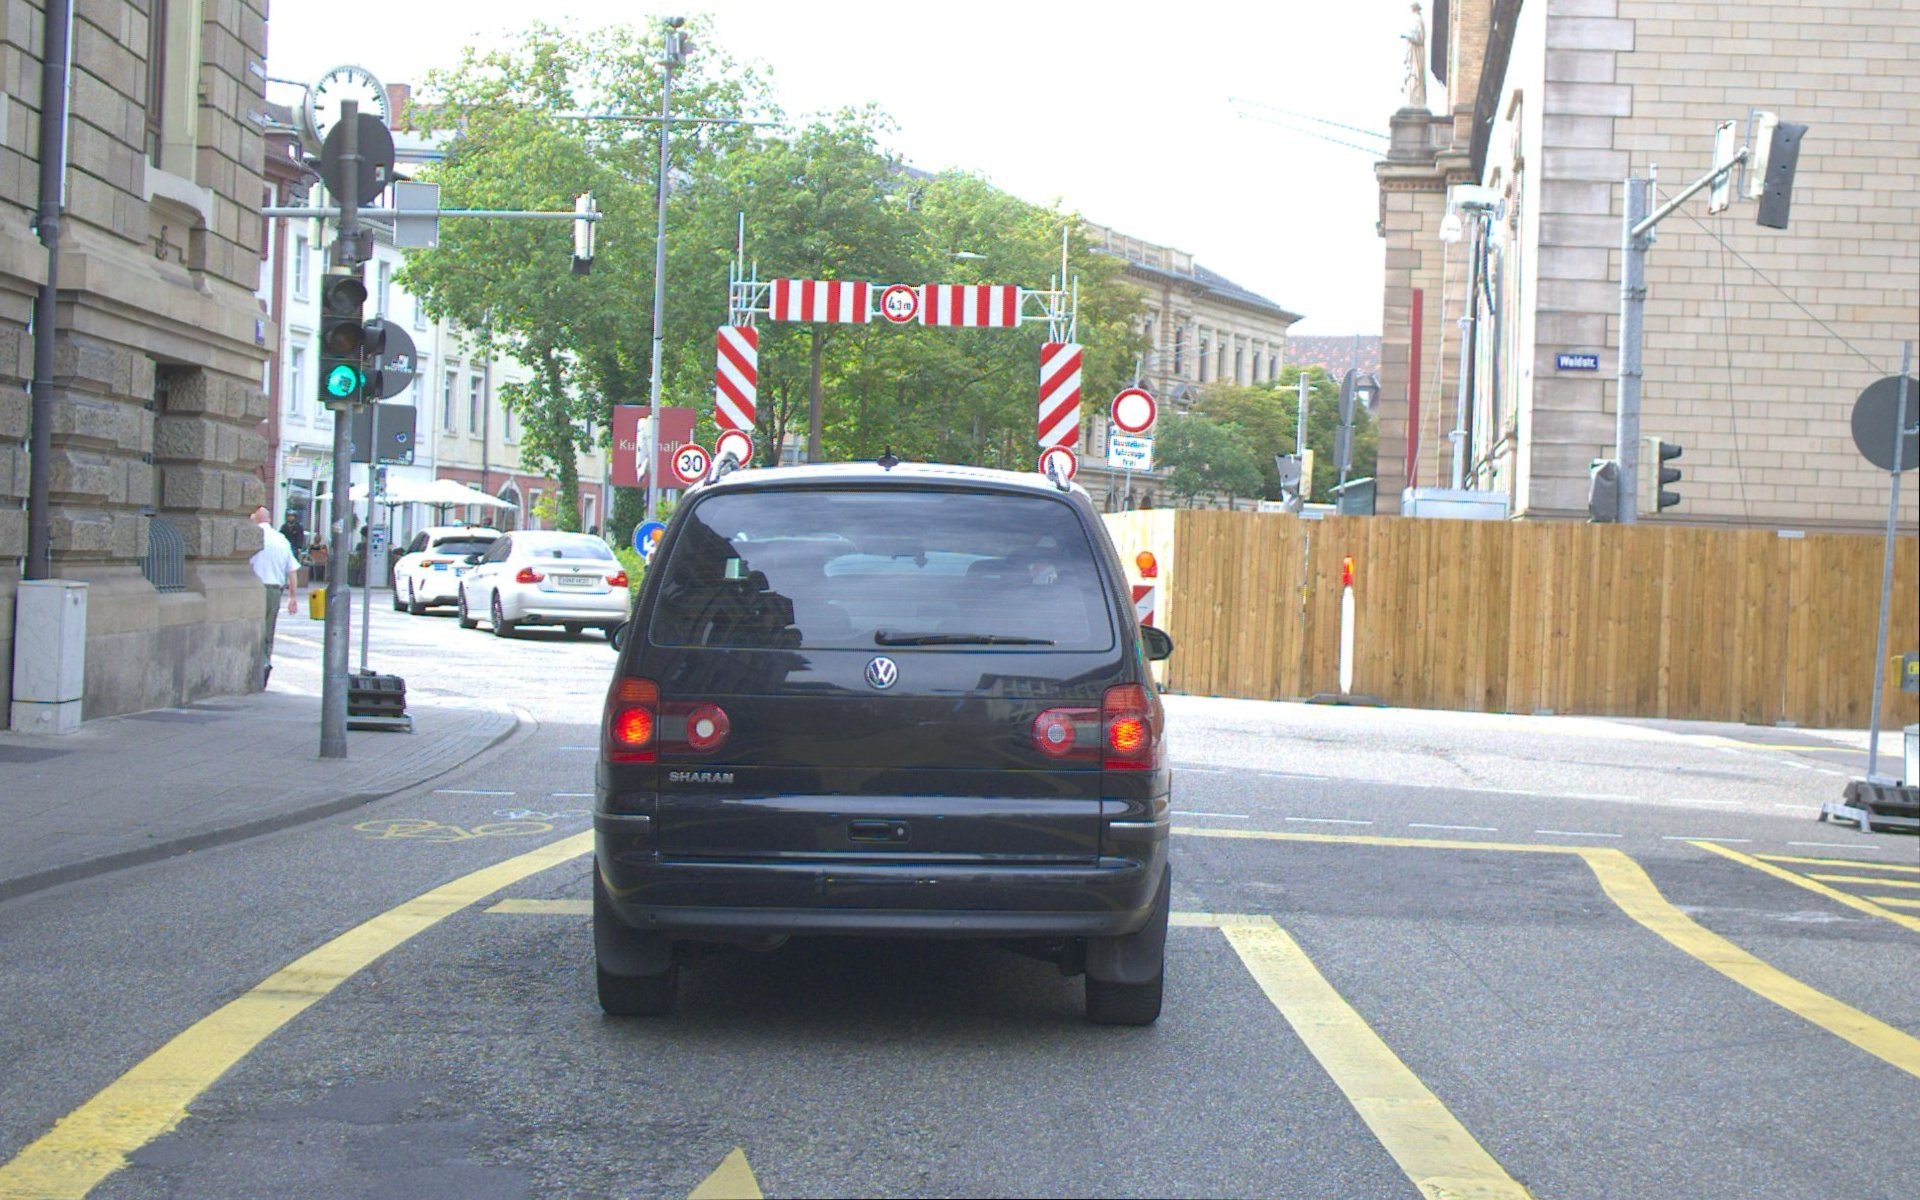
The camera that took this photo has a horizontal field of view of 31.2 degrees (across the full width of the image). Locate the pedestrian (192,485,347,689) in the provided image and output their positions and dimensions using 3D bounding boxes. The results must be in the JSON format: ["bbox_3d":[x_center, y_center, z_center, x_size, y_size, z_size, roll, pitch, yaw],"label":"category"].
[{"bbox_3d":[-6.404,-0.118,31.884,1.047,1.813,0.793,4,0,35],"label":"pedestrian"}]

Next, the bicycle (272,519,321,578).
[{"bbox_3d":[-14.570,-1.128,75.540,0.925,1.251,2.542,2,0,-9],"label":"bicycle"}]

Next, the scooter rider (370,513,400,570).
[{"bbox_3d":[-15.183,-1.534,90.723,0.599,1.485,0.679,2,0,4],"label":"scooter rider"}]

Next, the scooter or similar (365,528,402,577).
[{"bbox_3d":[-15.201,-1.253,90.691,0.599,1.251,1.552,2,0,3],"label":"scooter or similar"}]

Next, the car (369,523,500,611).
[{"bbox_3d":[-8.513,-0.544,55.473,1.649,1.317,3.676,2,1,-15],"label":"car"}]

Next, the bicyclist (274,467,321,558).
[{"bbox_3d":[-14.553,-1.907,75.523,0.925,1.956,1.106,2,0,-9],"label":"bicyclist"}]

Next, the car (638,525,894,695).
[{"bbox_3d":[-2.035,0.069,34.906,1.772,1.580,4.001,2,0,-15],"label":"car"}]

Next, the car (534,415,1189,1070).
[{"bbox_3d":[-0.236,0.384,11.785,1.790,1.784,4.103,2,1,1],"label":"car"}]

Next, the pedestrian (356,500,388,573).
[{"bbox_3d":[-16.281,-1.760,95.206,0.586,2.007,0.686,2,0,16],"label":"pedestrian"}]

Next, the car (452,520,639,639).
[{"bbox_3d":[-5.648,-0.298,46.472,1.703,1.496,4.001,2,1,-18],"label":"car"}]
